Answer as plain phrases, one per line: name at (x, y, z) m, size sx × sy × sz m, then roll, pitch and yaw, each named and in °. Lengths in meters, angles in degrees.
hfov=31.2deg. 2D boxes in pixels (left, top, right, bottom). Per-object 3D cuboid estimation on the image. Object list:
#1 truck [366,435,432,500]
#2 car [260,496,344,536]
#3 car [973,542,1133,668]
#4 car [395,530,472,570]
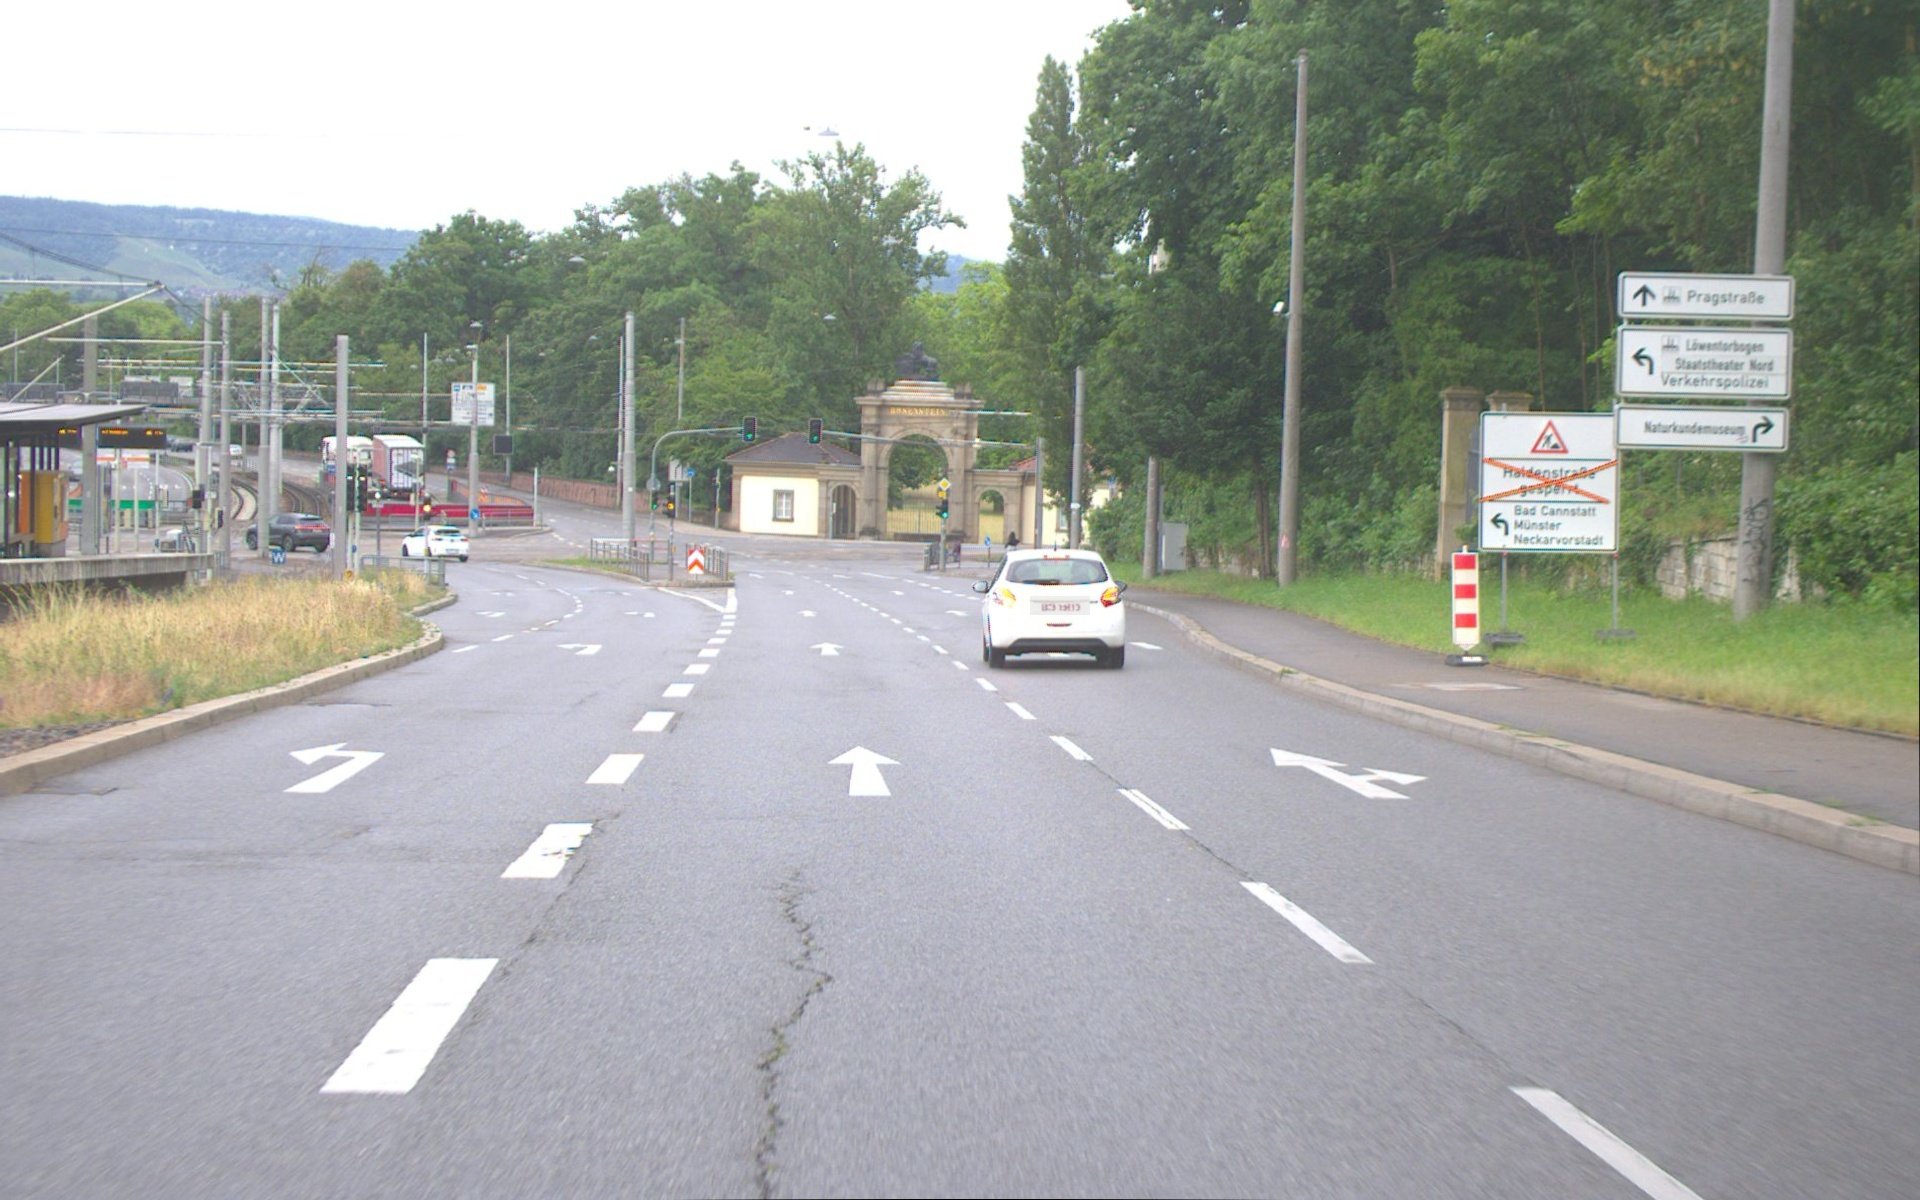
truck at (-42.456, -9.982, 259.847) m, size 3.413 × 4.555 × 11.291 m, roll 4°, pitch 1°, yaw -16°
car at (-28.989, -3.706, 151.381) m, size 1.994 × 1.700 × 3.999 m, roll 0°, pitch 1°, yaw -38°
car at (1.129, 0.048, 43.510) m, size 1.868 × 1.506 × 3.900 m, roll 0°, pitch 0°, yaw -1°
car at (-21.636, -2.061, 141.128) m, size 1.822 × 1.600 × 4.001 m, roll -1°, pitch 2°, yaw -29°
